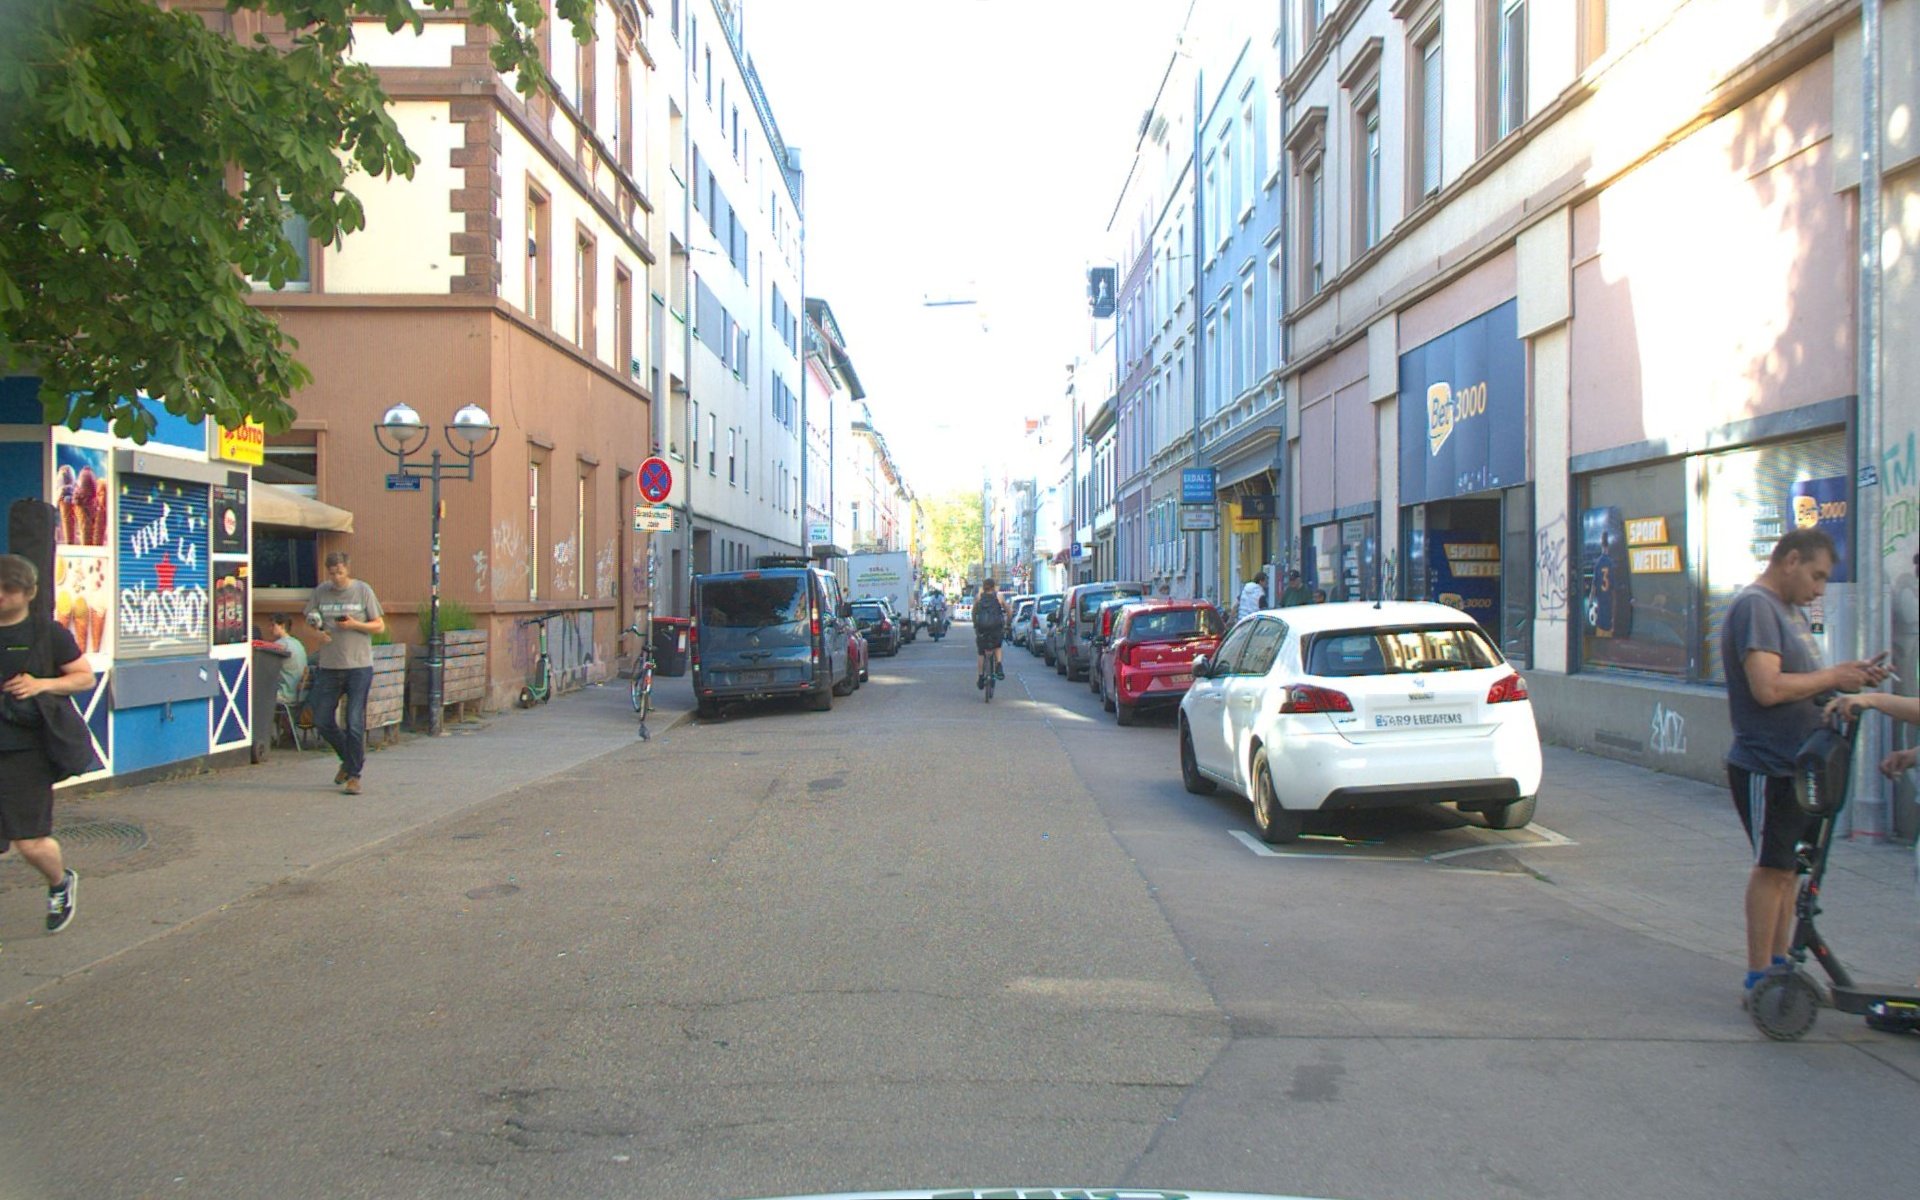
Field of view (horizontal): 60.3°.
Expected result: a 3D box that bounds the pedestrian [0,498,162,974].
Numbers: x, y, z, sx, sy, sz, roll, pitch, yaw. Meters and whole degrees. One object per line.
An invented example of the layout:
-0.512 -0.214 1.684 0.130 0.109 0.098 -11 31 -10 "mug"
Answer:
-3.914 0.546 6.992 0.702 1.906 0.720 1 -1 -1 "pedestrian"

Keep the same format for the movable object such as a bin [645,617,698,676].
-5.420 0.867 31.096 0.743 1.085 0.652 0 -1 19 "movable object such as a bin"

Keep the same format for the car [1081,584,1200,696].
2.838 0.615 26.542 1.537 1.584 3.314 -3 -1 2 "car"

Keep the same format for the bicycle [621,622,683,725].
-3.983 0.917 21.307 0.541 1.238 1.978 1 0 -17 "bicycle"

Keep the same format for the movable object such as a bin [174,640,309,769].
-6.460 0.925 14.906 0.852 1.105 0.774 1 -1 0 "movable object such as a bin"

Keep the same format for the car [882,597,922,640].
-2.638 0.858 76.227 1.717 1.848 4.077 -2 0 -1 "car"

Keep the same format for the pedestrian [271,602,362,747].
-6.678 0.764 17.199 0.691 1.471 0.617 1 -1 -2 "pedestrian"

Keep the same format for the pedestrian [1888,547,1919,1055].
3.465 0.664 5.524 0.519 1.667 0.561 0 -1 44 "pedestrian"

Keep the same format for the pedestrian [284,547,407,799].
-4.703 0.546 12.702 0.633 1.866 0.697 2 -1 -1 "pedestrian"

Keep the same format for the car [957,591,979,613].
0.598 0.188 121.993 1.578 1.587 3.609 1 0 -1 "car"

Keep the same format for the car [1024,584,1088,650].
2.620 0.471 45.788 1.525 1.742 3.558 1 0 -1 "car"

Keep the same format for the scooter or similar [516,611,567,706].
-5.675 0.774 22.463 0.340 1.238 1.391 1 -1 -1 "scooter or similar"

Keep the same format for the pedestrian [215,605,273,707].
-8.811 0.688 20.363 0.434 1.207 0.421 4 -2 0 "pedestrian"

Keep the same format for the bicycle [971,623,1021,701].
0.517 0.892 24.579 0.663 1.093 1.941 1 0 -1 "bicycle"

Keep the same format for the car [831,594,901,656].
-2.550 0.649 45.767 1.682 1.504 4.498 -3 1 -1 "car"

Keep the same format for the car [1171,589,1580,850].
2.749 0.729 11.927 1.751 1.542 4.134 1 0 -3 "car"

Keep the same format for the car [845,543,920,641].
-2.833 -0.258 62.105 2.295 3.349 7.154 -2 0 0 "car"

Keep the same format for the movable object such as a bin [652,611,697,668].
-5.522 0.769 31.981 0.720 1.085 0.501 1 -1 -32 "movable object such as a bin"

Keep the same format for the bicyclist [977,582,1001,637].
0.862 0.284 48.631 0.657 1.595 0.716 1 -1 -2 "bicyclist"

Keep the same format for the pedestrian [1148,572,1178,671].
3.613 0.378 29.459 0.432 1.734 0.654 1 -1 0 "pedestrian"

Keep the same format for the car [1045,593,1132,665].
2.864 0.646 37.549 1.521 1.537 3.609 1 0 -3 "car"

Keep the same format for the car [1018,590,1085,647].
2.755 0.552 50.558 1.662 1.570 4.628 -2 0 -1 "car"

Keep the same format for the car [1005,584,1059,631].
2.761 0.280 64.403 1.879 1.736 4.365 0 0 -1 "car"

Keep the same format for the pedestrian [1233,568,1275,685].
4.488 0.403 25.249 0.549 1.771 0.428 1 -1 0 "pedestrian"

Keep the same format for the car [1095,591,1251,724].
2.732 0.704 21.861 1.574 1.600 3.553 1 0 -1 "car"

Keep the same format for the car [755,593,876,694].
-2.480 0.736 29.213 1.715 1.548 3.869 -3 -1 0 "car"

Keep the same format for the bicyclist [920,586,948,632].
-0.956 0.346 61.370 0.931 1.656 0.953 -2 0 1 "bicyclist"

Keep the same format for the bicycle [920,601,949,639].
-0.933 0.734 61.609 0.957 1.337 2.555 -2 0 1 "bicycle"

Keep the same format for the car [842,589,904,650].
-2.674 0.568 51.552 1.682 1.679 4.245 -3 1 -1 "car"

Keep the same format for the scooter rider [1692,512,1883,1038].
3.061 0.602 6.108 0.554 1.809 0.609 0 -1 35 "scooter rider"

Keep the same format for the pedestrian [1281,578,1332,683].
5.201 0.456 24.851 0.576 1.556 0.658 1 -1 -6 "pedestrian"

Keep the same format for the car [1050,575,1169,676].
2.844 0.477 32.294 1.860 1.825 4.314 1 0 -1 "car"

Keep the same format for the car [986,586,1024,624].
2.377 0.281 88.301 1.715 1.911 3.970 -1 0 -3 "car"

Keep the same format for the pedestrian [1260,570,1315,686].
5.076 0.436 25.636 0.617 1.771 0.656 1 -1 -13 "pedestrian"

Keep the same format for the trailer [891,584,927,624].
-2.807 0.215 91.641 1.843 2.129 3.736 -1 0 -1 "trailer"

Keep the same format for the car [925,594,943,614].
-2.537 0.424 161.861 1.714 1.853 3.795 -1 0 -1 "car"

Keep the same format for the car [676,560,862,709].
-2.634 0.429 24.083 1.979 1.912 5.297 1 0 1 "car"

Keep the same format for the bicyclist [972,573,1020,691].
0.525 0.464 24.561 0.654 1.706 1.097 1 -1 -1 "bicyclist"

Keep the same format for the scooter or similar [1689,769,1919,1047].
3.062 1.087 6.050 0.385 0.843 0.926 1 -1 0 "scooter or similar"

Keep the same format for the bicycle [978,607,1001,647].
0.859 0.789 48.693 0.635 1.149 2.135 1 0 -1 "bicycle"

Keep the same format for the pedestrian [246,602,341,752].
-6.675 0.762 16.594 0.691 1.471 0.617 1 -1 -2 "pedestrian"

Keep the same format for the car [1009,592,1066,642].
2.615 0.580 56.550 1.652 1.570 4.045 -2 0 -1 "car"
